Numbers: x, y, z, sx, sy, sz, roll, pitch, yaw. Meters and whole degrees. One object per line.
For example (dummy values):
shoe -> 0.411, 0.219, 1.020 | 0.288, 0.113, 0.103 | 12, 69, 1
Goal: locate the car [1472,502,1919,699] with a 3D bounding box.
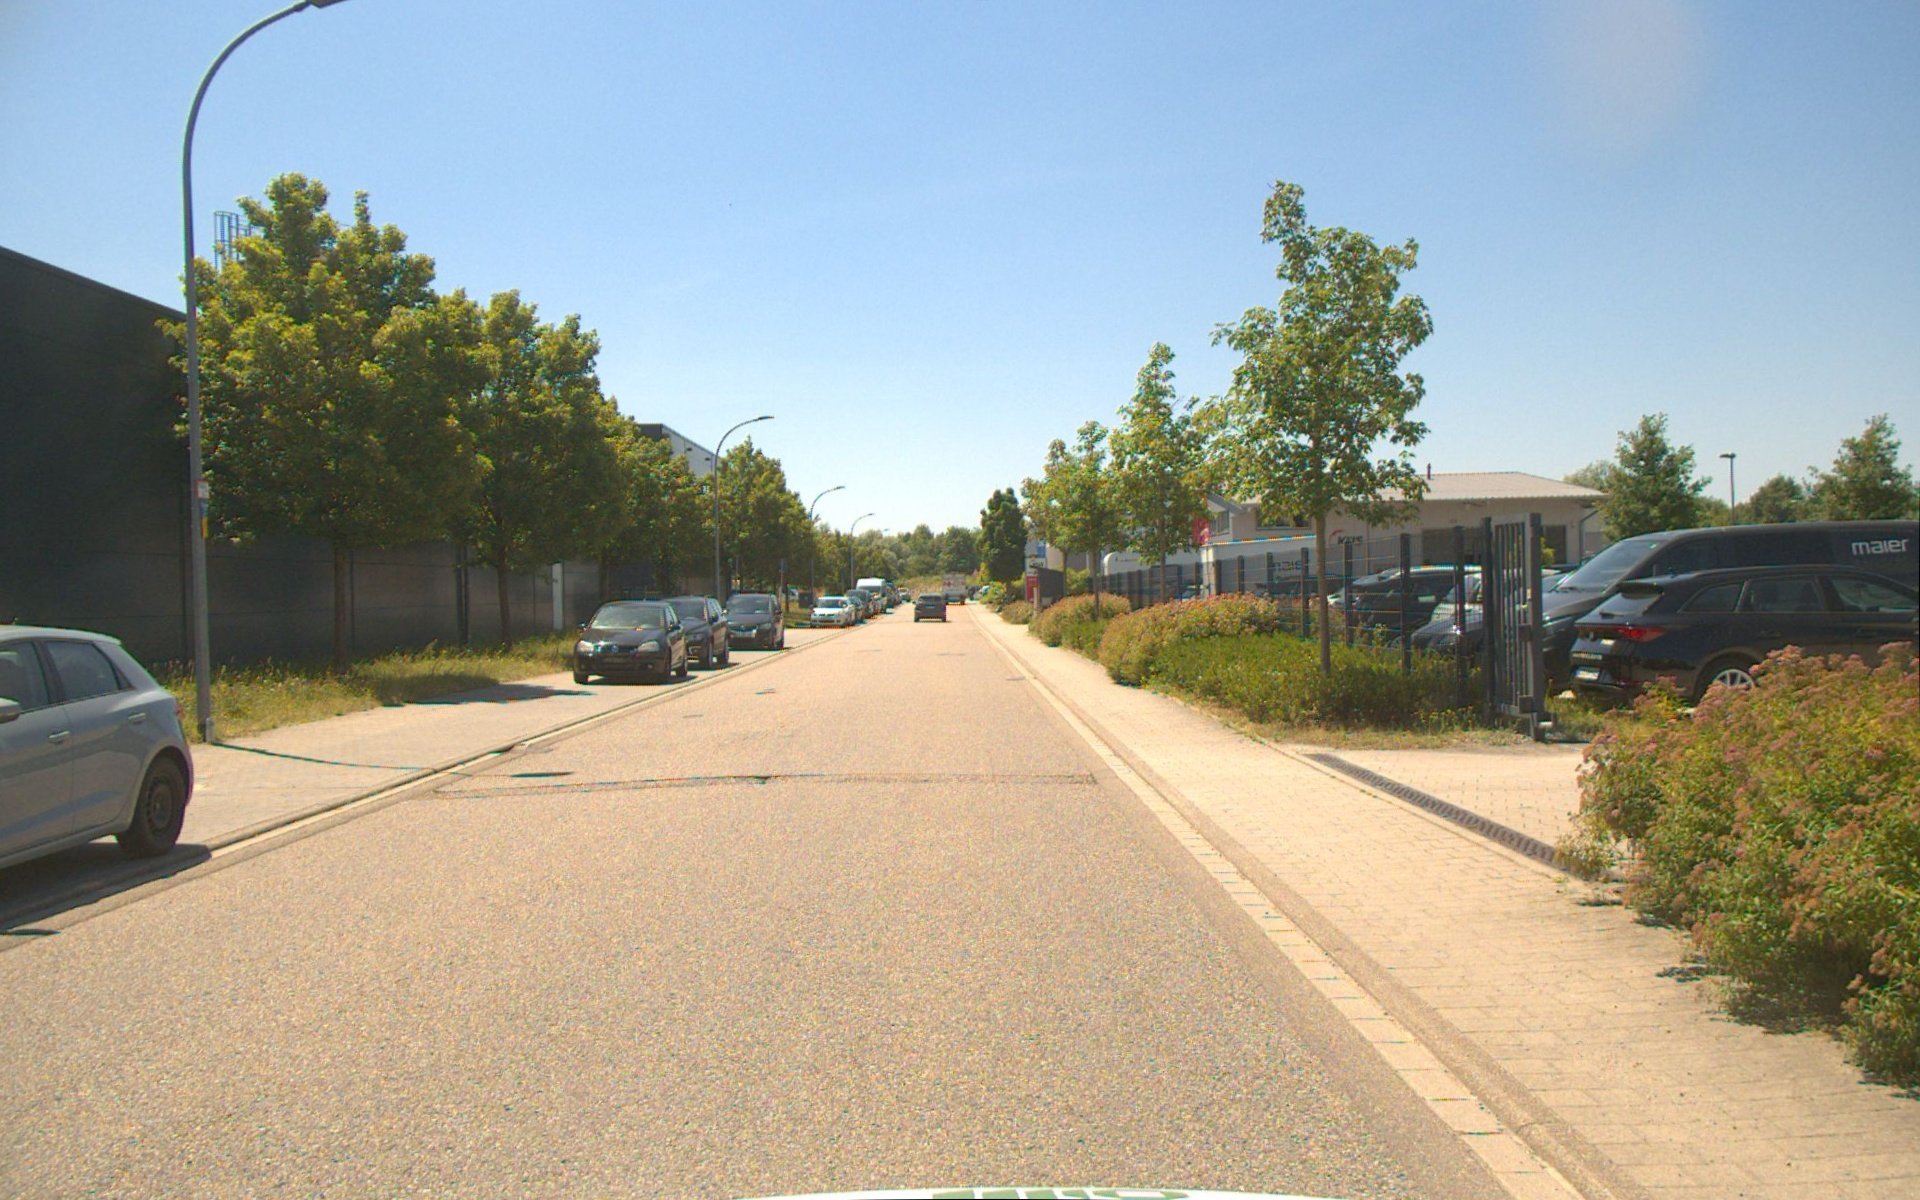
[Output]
car -> 8.650, -0.018, 18.797 | 5.010, 1.906, 1.902 | -3, 0, -1

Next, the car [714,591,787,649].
car -> -6.243, 0.556, 49.563 | 1.735, 1.639, 4.246 | -1, 0, -2

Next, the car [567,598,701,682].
car -> -6.113, 0.709, 31.448 | 1.735, 1.456, 4.200 | 0, 0, -1

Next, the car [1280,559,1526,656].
car -> 7.920, 0.121, 29.810 | 3.906, 1.548, 1.822 | -2, 0, -1

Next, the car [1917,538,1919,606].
car -> 19.321, -0.454, 29.052 | 3.959, 1.473, 1.776 | -2, 0, -1

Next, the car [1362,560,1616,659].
car -> 8.581, 0.142, 27.003 | 3.591, 1.447, 1.644 | -2, 0, -1

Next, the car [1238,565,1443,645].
car -> 8.226, 0.104, 35.982 | 3.959, 1.530, 1.918 | -2, 0, -1

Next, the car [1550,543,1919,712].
car -> 8.171, 0.216, 16.174 | 4.130, 1.447, 1.764 | -2, 0, -2

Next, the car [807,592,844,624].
car -> -6.608, 0.369, 81.651 | 1.686, 1.501, 3.855 | -1, 0, -3

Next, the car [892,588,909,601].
car -> -7.188, -0.694, 200.263 | 1.762, 1.513, 4.253 | -1, 1, 1

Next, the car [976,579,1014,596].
car -> 3.614, -1.304, 172.084 | 3.798, 1.780, 1.751 | 1, 0, -3

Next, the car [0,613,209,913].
car -> -5.663, 0.826, 8.610 | 1.735, 1.456, 3.940 | 0, 0, -1

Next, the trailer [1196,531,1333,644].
trailer -> 7.046, -0.287, 38.420 | 2.767, 2.445, 1.418 | -3, 0, -5

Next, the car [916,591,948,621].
car -> -1.543, 0.310, 92.794 | 1.753, 1.652, 3.808 | 1, 0, -1

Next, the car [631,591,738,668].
car -> -6.223, 0.617, 37.839 | 1.735, 1.639, 4.851 | -1, 0, -2

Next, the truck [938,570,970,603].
truck -> -0.530, -1.253, 154.282 | 2.873, 3.026, 6.419 | 1, 0, 0

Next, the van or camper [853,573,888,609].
van or camper -> -6.636, -0.673, 122.920 | 2.035, 2.526, 6.132 | 1, 0, 2

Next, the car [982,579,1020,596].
car -> 4.187, -1.283, 169.569 | 3.798, 1.780, 1.751 | 1, 0, -3

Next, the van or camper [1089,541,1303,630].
van or camper -> 7.726, -0.483, 54.739 | 6.620, 2.630, 2.635 | -2, 0, -1

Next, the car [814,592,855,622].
car -> -6.585, 0.340, 86.913 | 1.762, 1.501, 4.554 | -1, 0, 0

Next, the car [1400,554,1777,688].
car -> 8.095, 0.262, 21.521 | 4.257, 1.474, 1.602 | -3, 0, -1

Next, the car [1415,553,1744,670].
car -> 9.139, 0.156, 24.626 | 4.193, 1.470, 1.754 | -3, 0, -1
